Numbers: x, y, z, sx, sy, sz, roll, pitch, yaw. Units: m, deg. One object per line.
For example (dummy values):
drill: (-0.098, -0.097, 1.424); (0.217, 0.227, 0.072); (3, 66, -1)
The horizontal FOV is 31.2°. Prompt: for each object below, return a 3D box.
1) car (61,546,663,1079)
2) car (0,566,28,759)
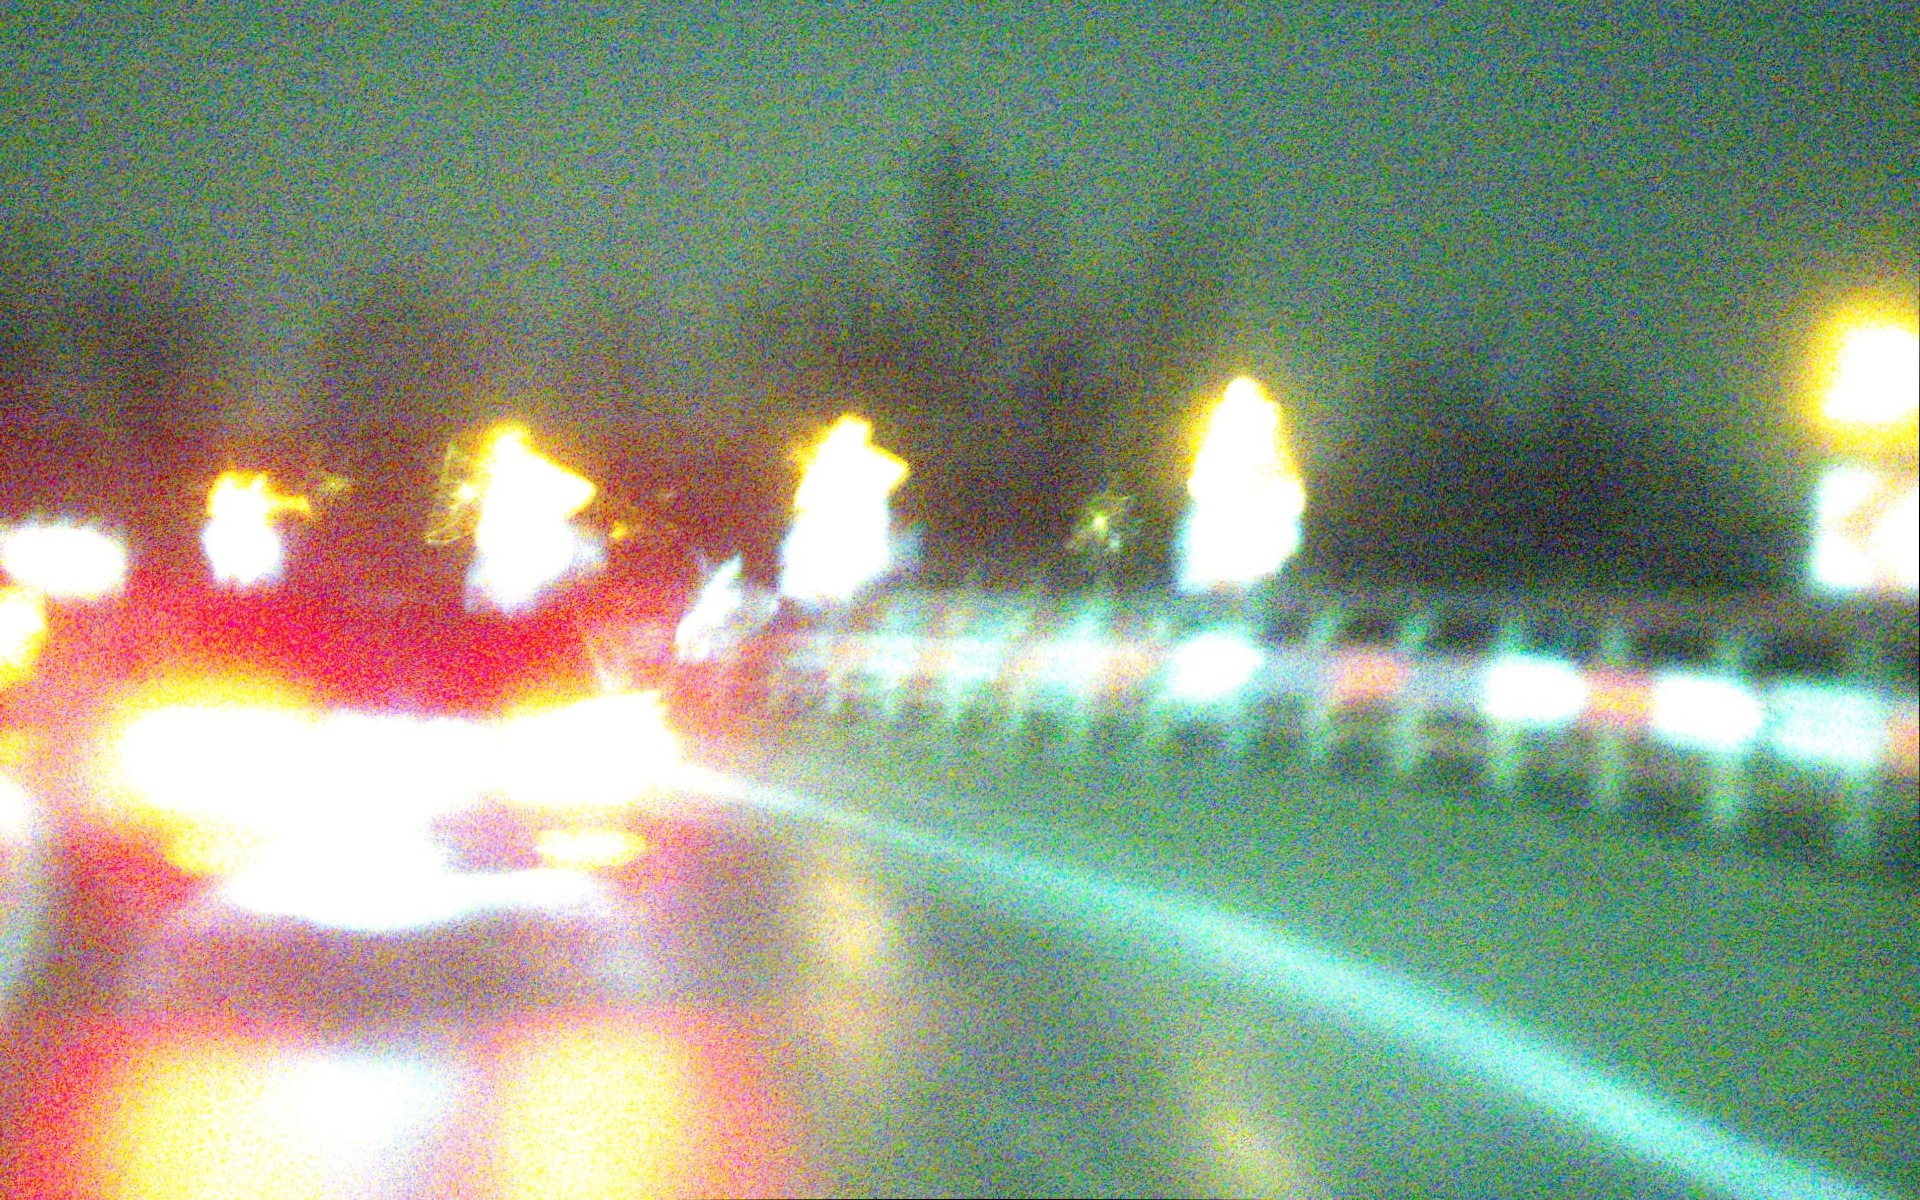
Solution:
car: (-2.285, 0.640, 12.928); (1.860, 1.641, 4.070); (-1, 1, -11)
car: (-10.113, 0.521, 32.671); (1.895, 1.714, 4.047); (1, 1, -23)
